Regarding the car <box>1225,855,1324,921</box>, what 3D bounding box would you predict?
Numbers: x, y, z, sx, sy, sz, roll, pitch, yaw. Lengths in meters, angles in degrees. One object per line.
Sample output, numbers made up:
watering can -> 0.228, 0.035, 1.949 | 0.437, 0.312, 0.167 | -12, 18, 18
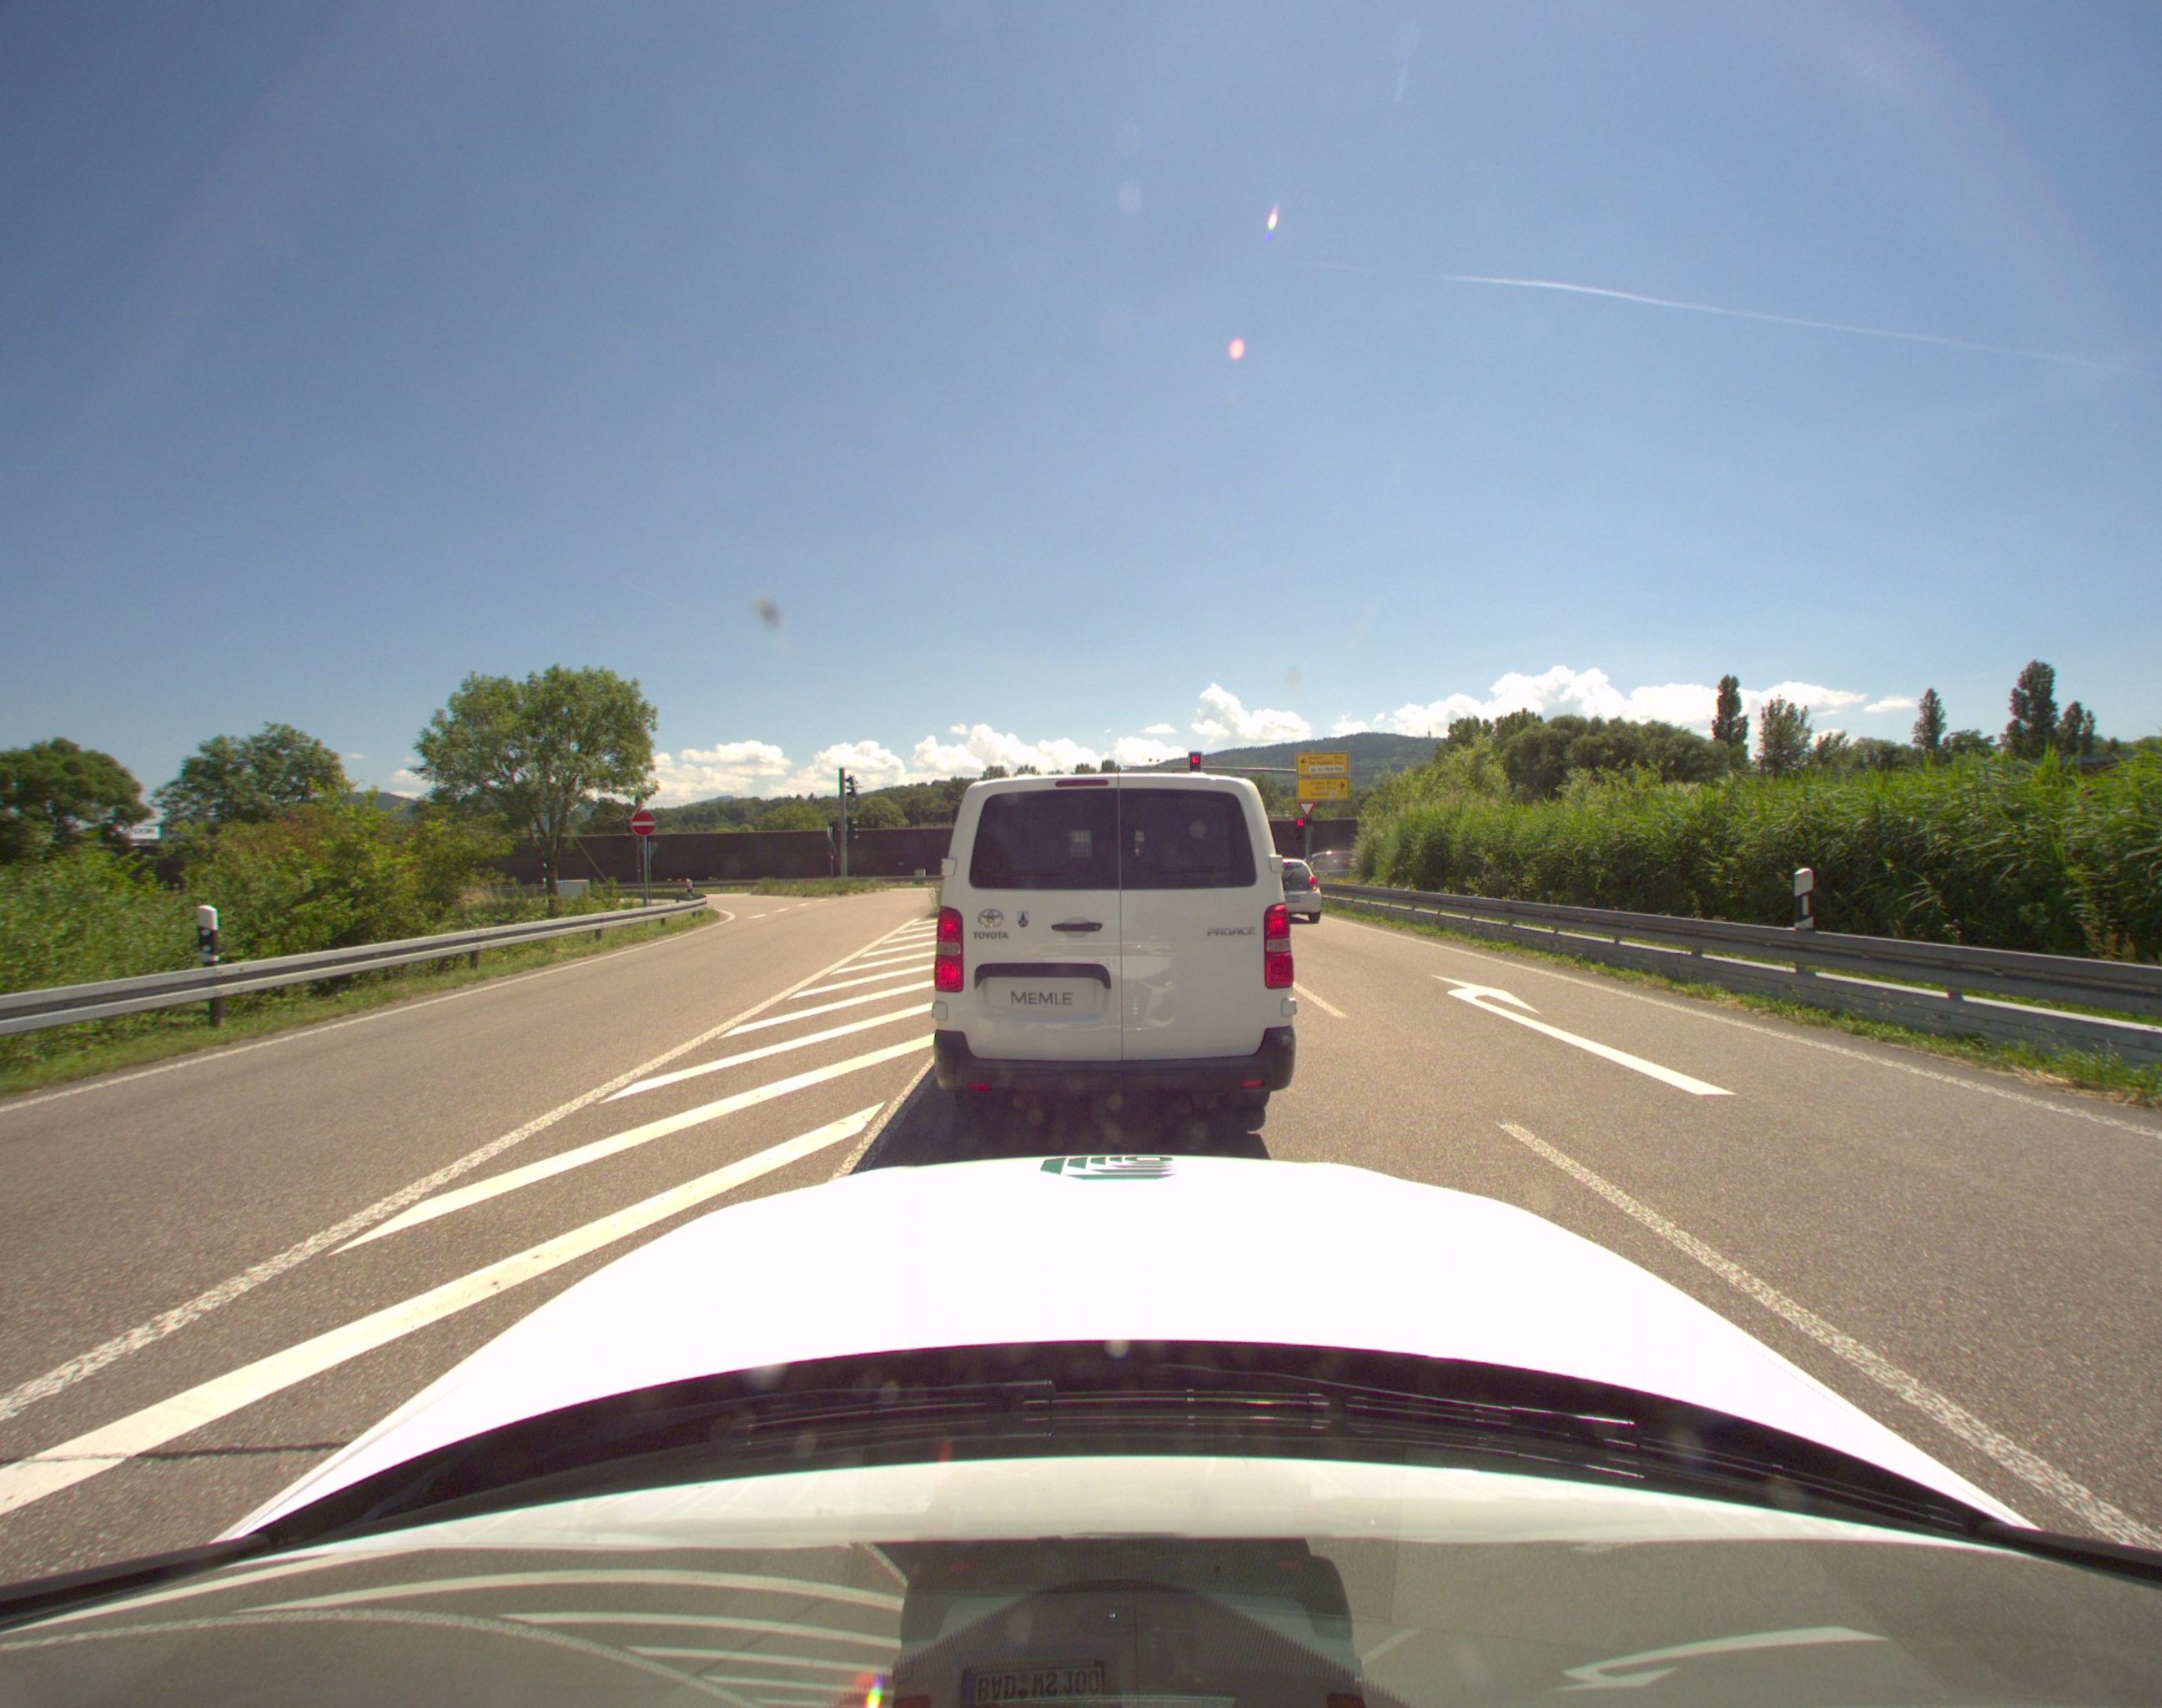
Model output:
car -> 4.573, 0.767, 19.664 | 1.650, 1.431, 3.366 | -1, 0, 1

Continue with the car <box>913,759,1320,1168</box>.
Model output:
car -> 0.207, 0.524, 5.797 | 1.880, 1.886, 4.001 | -1, 0, 1

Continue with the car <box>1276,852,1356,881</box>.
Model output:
car -> 14.268, 0.744, 49.637 | 4.298, 1.656, 1.999 | -1, -1, -2

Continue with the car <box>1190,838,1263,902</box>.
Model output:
car -> 4.927, 0.533, 28.227 | 1.920, 2.000, 4.842 | -1, 0, 3
